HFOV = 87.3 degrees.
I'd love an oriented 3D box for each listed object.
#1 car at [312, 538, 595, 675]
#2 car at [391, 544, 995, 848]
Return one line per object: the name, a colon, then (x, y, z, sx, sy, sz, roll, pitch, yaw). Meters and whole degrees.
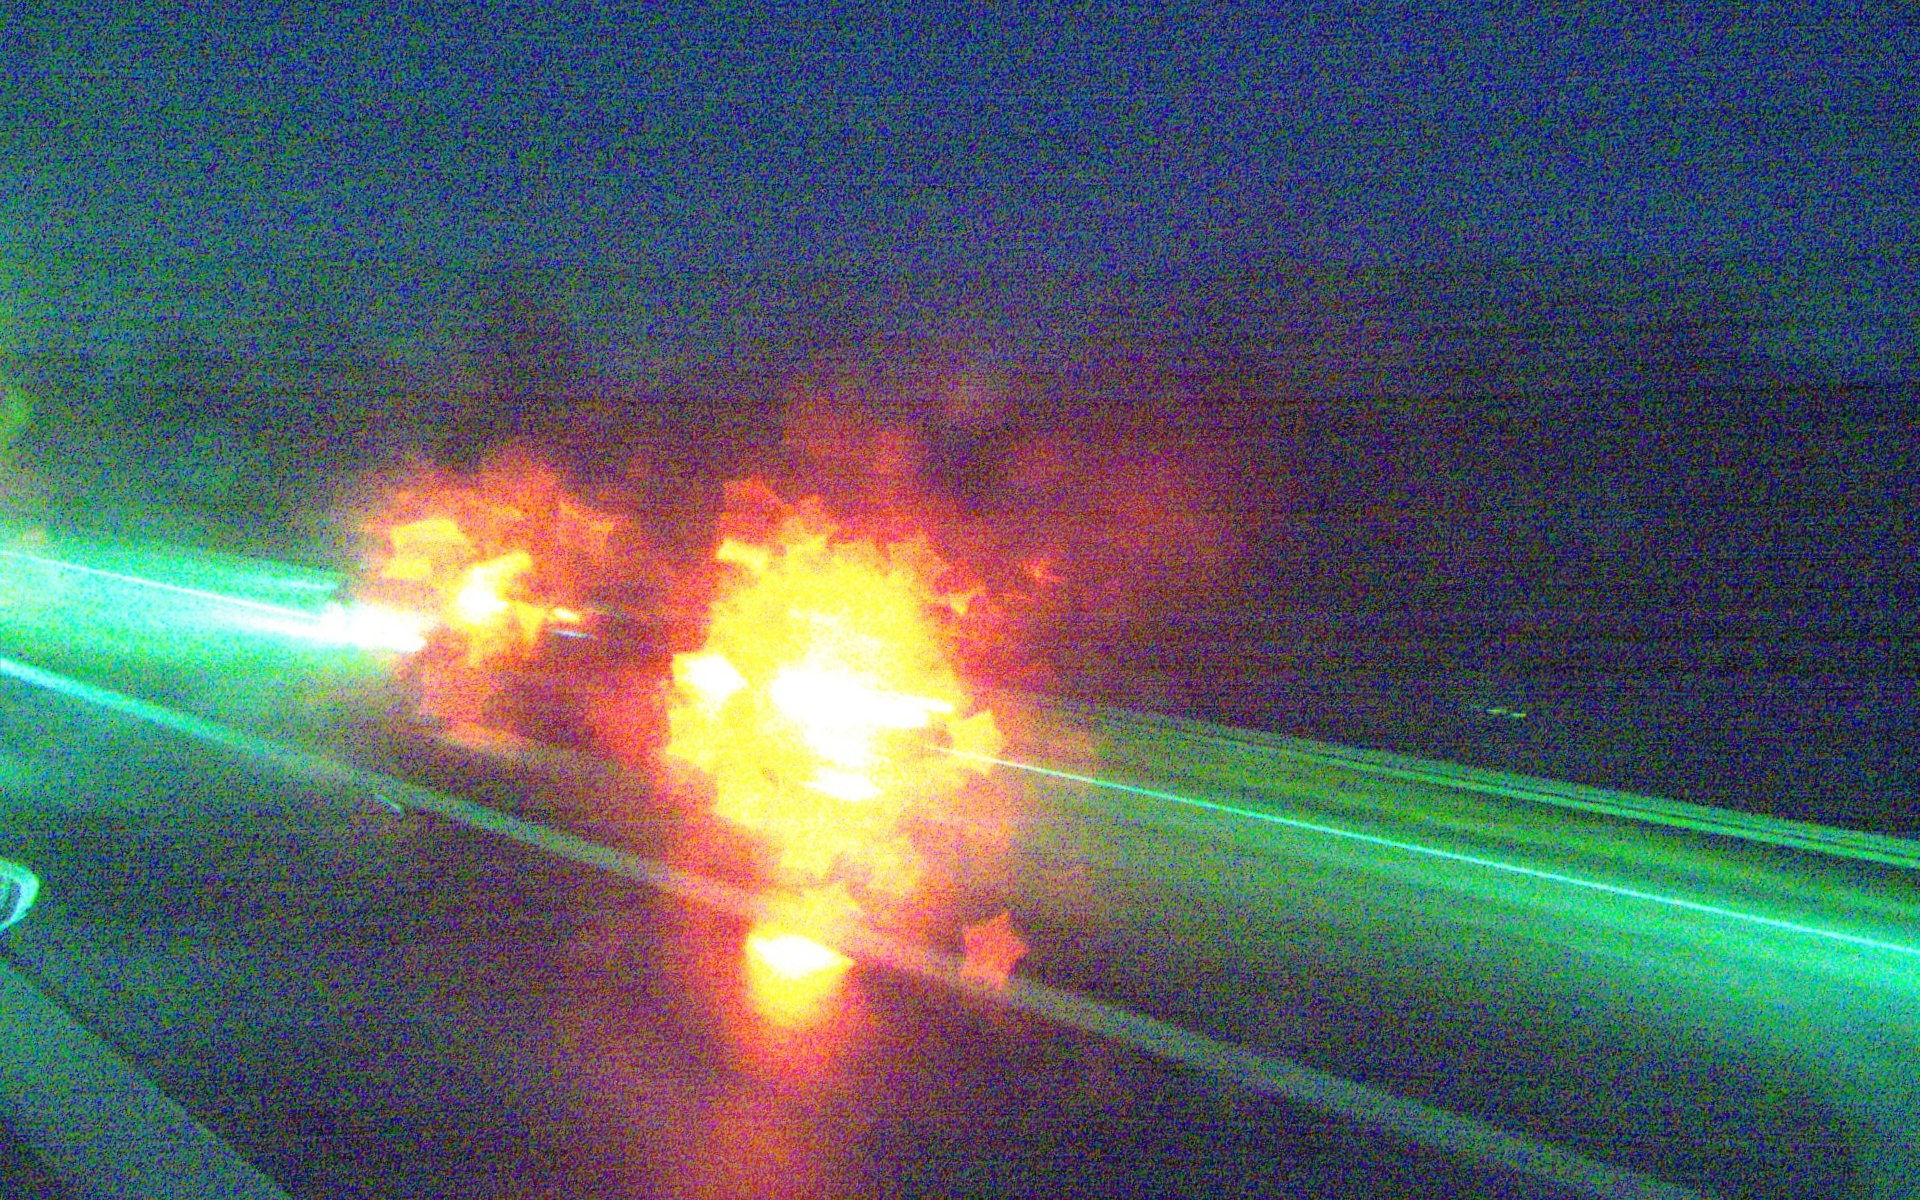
car: (-7.760, 0.085, 15.369, 3.973, 1.515, 1.724, 7, -1, 27)
car: (-2.139, 0.596, 7.878, 4.261, 1.466, 1.998, 7, -1, 29)
